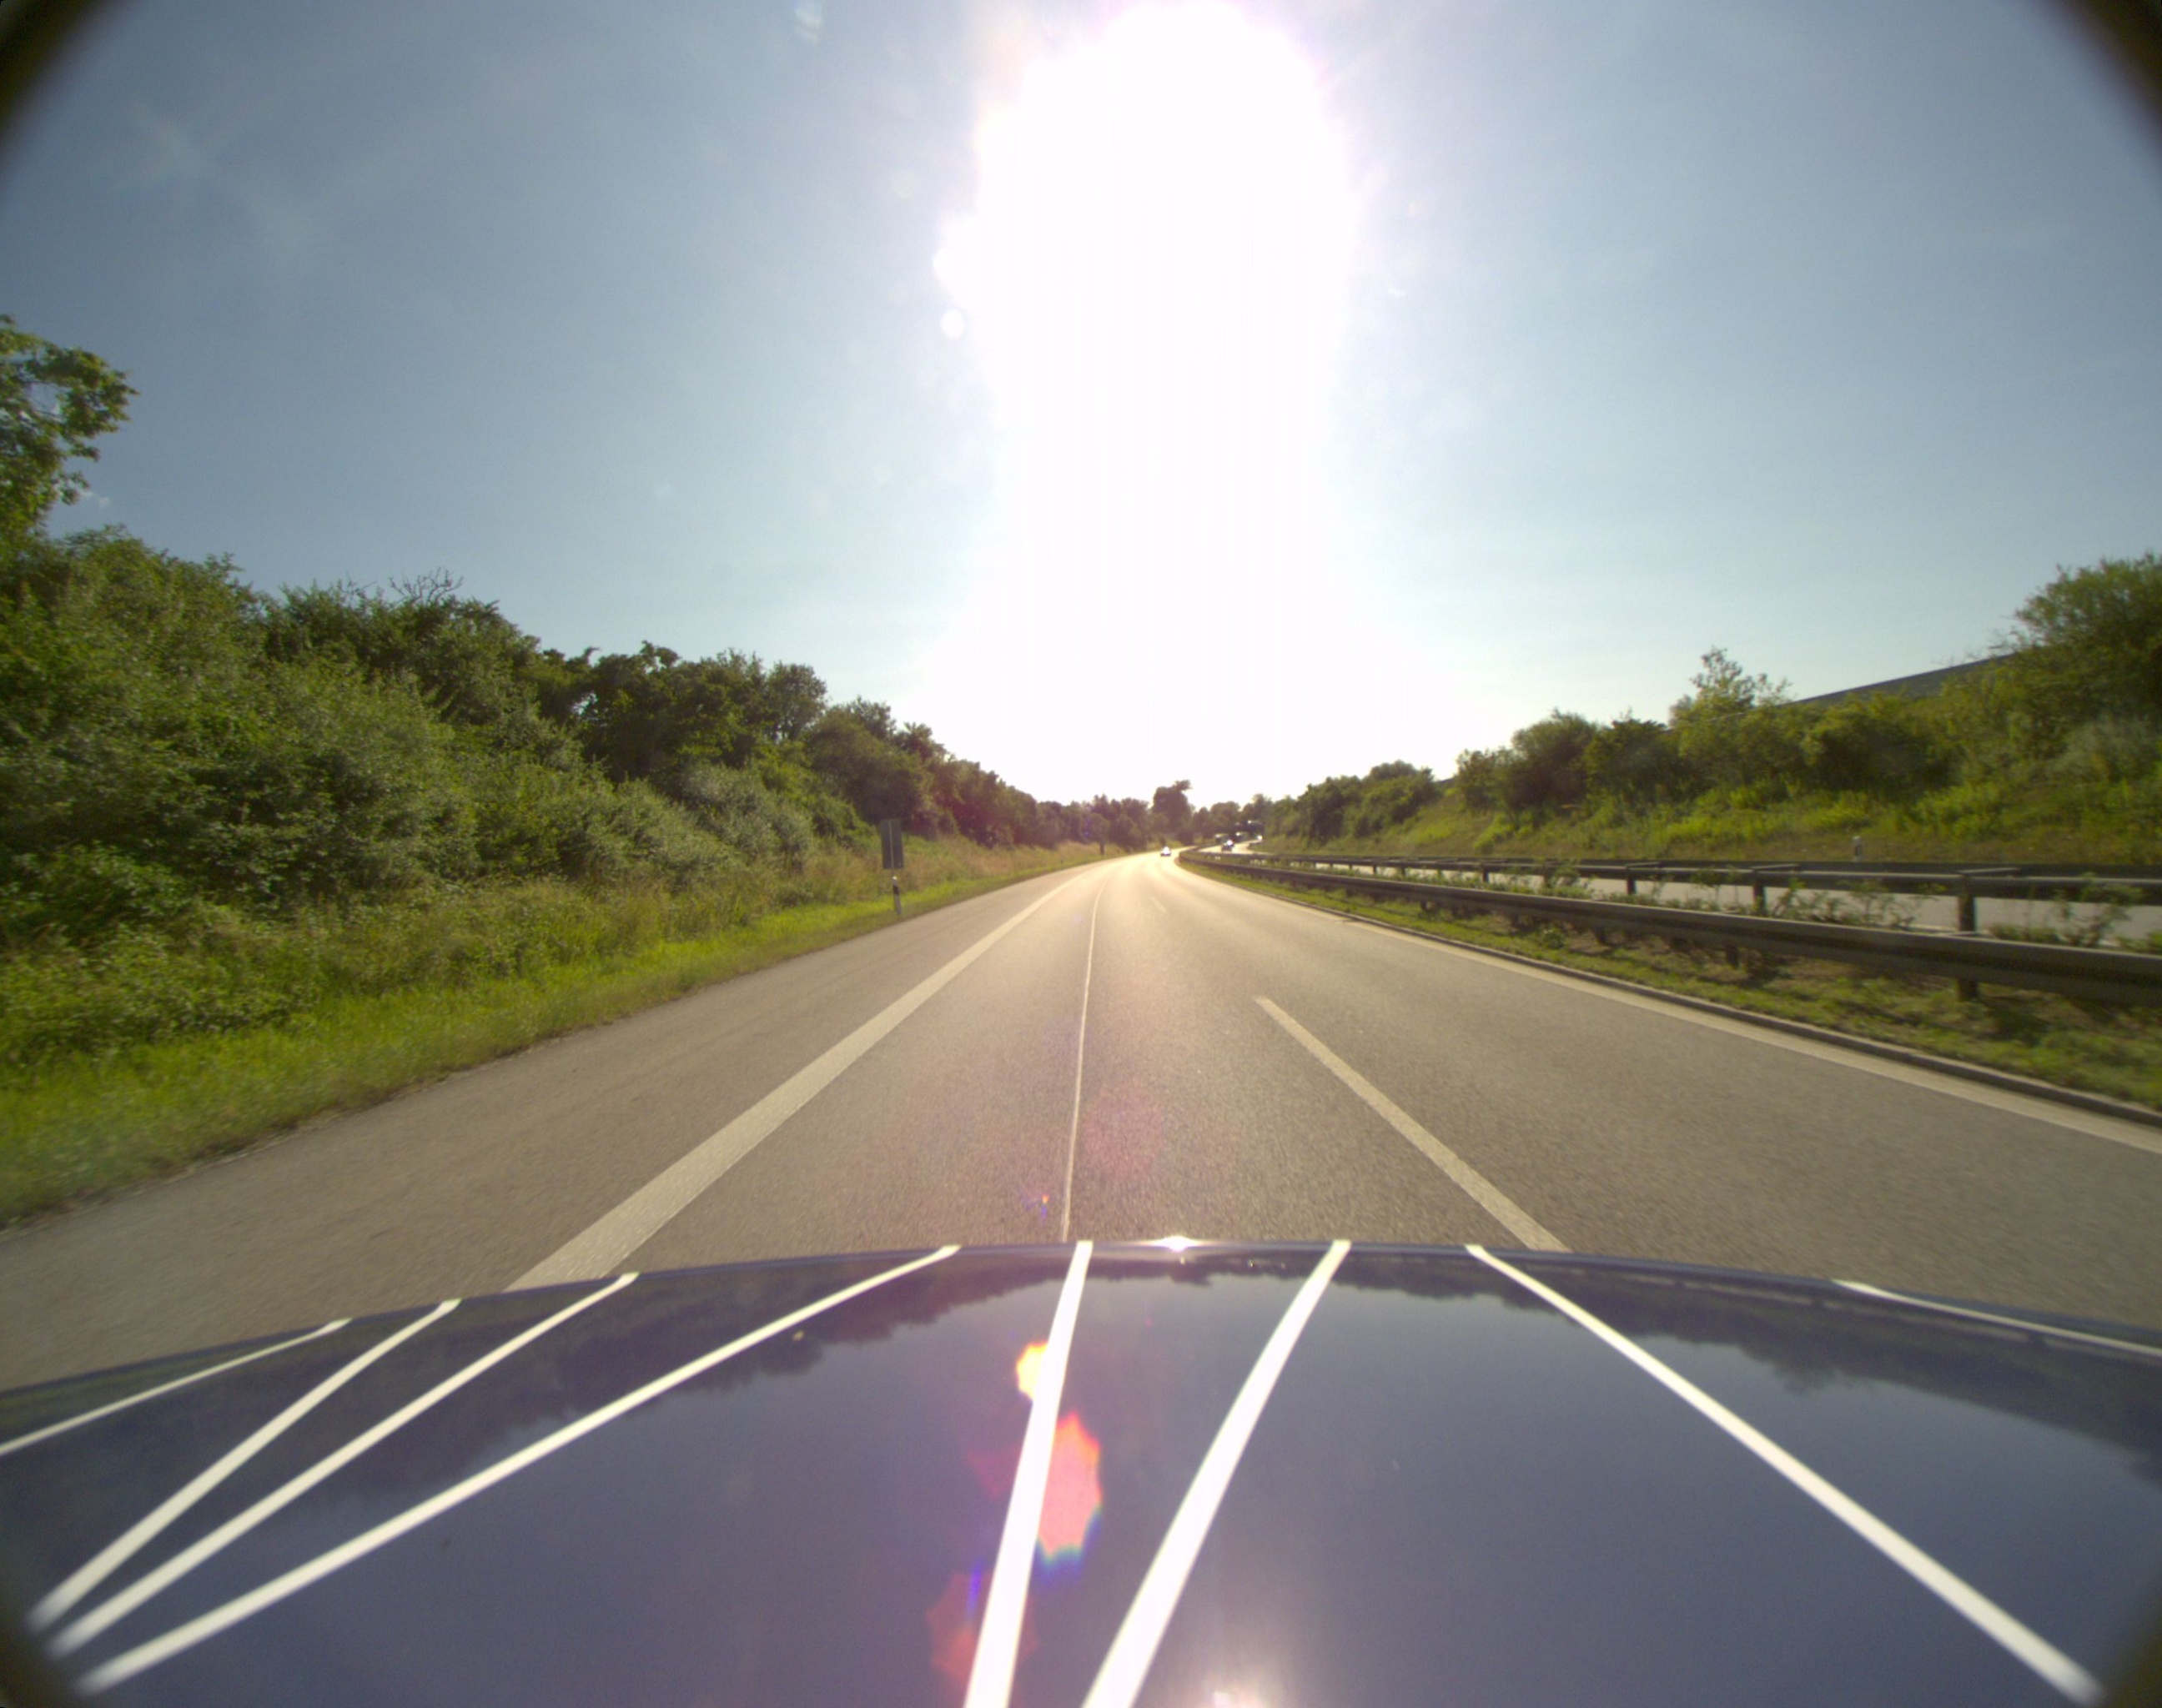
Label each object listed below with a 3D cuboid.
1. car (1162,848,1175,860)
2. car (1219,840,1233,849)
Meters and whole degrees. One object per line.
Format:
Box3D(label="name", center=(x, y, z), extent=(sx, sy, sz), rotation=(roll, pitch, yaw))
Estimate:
Box3D(label="car", center=(15.412, -0.033, 134.344), extent=(1.998, 2.002, 4.600), rotation=(-5, 0, 4))
Box3D(label="car", center=(24.976, -1.640, 130.790), extent=(1.904, 1.414, 4.399), rotation=(-1, 0, 4))
